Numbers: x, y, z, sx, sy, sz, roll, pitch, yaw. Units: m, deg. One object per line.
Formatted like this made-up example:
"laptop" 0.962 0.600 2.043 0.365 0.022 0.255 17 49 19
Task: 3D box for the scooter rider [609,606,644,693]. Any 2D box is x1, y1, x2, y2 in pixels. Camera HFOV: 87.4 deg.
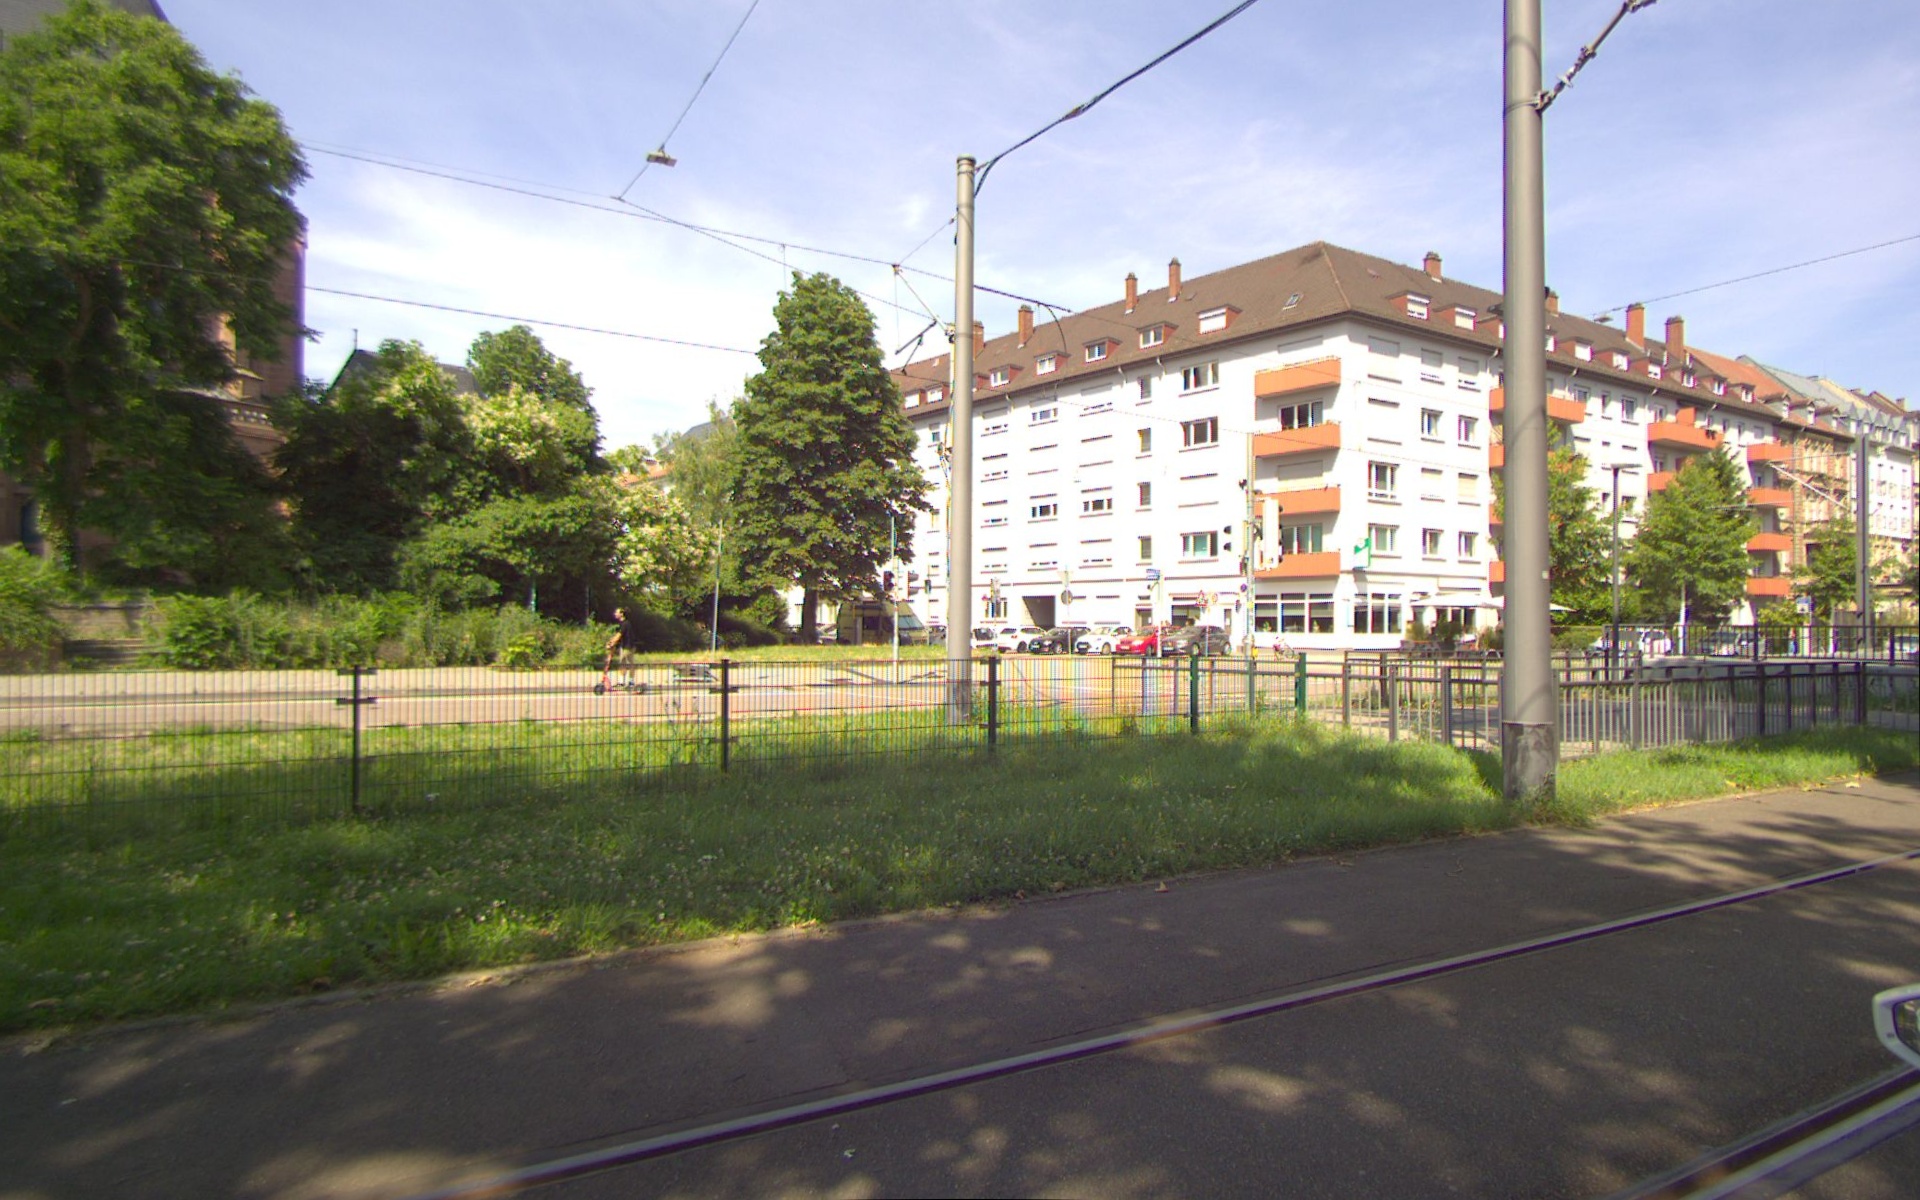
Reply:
"scooter rider" -7.365 1.092 22.195 0.658 1.891 0.662 1 -1 -15

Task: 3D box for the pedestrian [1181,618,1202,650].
"pedestrian" 11.726 1.703 50.912 0.846 1.593 0.688 0 -1 36

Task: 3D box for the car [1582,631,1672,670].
"car" 27.140 2.033 40.851 3.961 1.518 1.759 1 -3 -36

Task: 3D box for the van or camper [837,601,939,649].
"van or camper" -3.810 1.289 51.909 2.228 2.360 5.704 1 -2 -42

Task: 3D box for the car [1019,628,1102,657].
"car" 5.246 2.170 52.149 4.129 1.425 1.918 1 -2 -38

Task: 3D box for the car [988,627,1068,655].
"car" 3.682 2.192 54.427 4.129 1.425 1.917 1 -2 -38

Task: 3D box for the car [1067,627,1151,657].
"car" 7.536 2.098 50.585 4.129 1.425 1.918 1 -2 -38

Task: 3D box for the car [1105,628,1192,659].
"car" 9.078 2.044 48.269 4.129 1.425 1.918 1 -2 -38

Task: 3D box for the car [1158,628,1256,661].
"car" 11.246 1.996 45.675 4.598 1.394 1.821 1 -2 -36

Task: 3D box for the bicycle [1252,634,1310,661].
"bicycle" 14.007 2.044 43.809 2.779 1.152 0.905 1 -1 -34

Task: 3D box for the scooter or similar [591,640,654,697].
"scooter or similar" -7.432 1.491 22.180 1.249 1.220 0.655 1 -1 -15

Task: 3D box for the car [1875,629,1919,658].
"car" 52.687 2.409 56.000 3.961 1.518 1.758 1 -2 -36

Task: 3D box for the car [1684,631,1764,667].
"car" 34.408 2.195 45.221 3.961 1.518 1.759 1 -3 -36

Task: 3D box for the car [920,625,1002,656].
"car" 0.018 1.893 47.518 3.702 1.425 1.823 -1 -2 44
